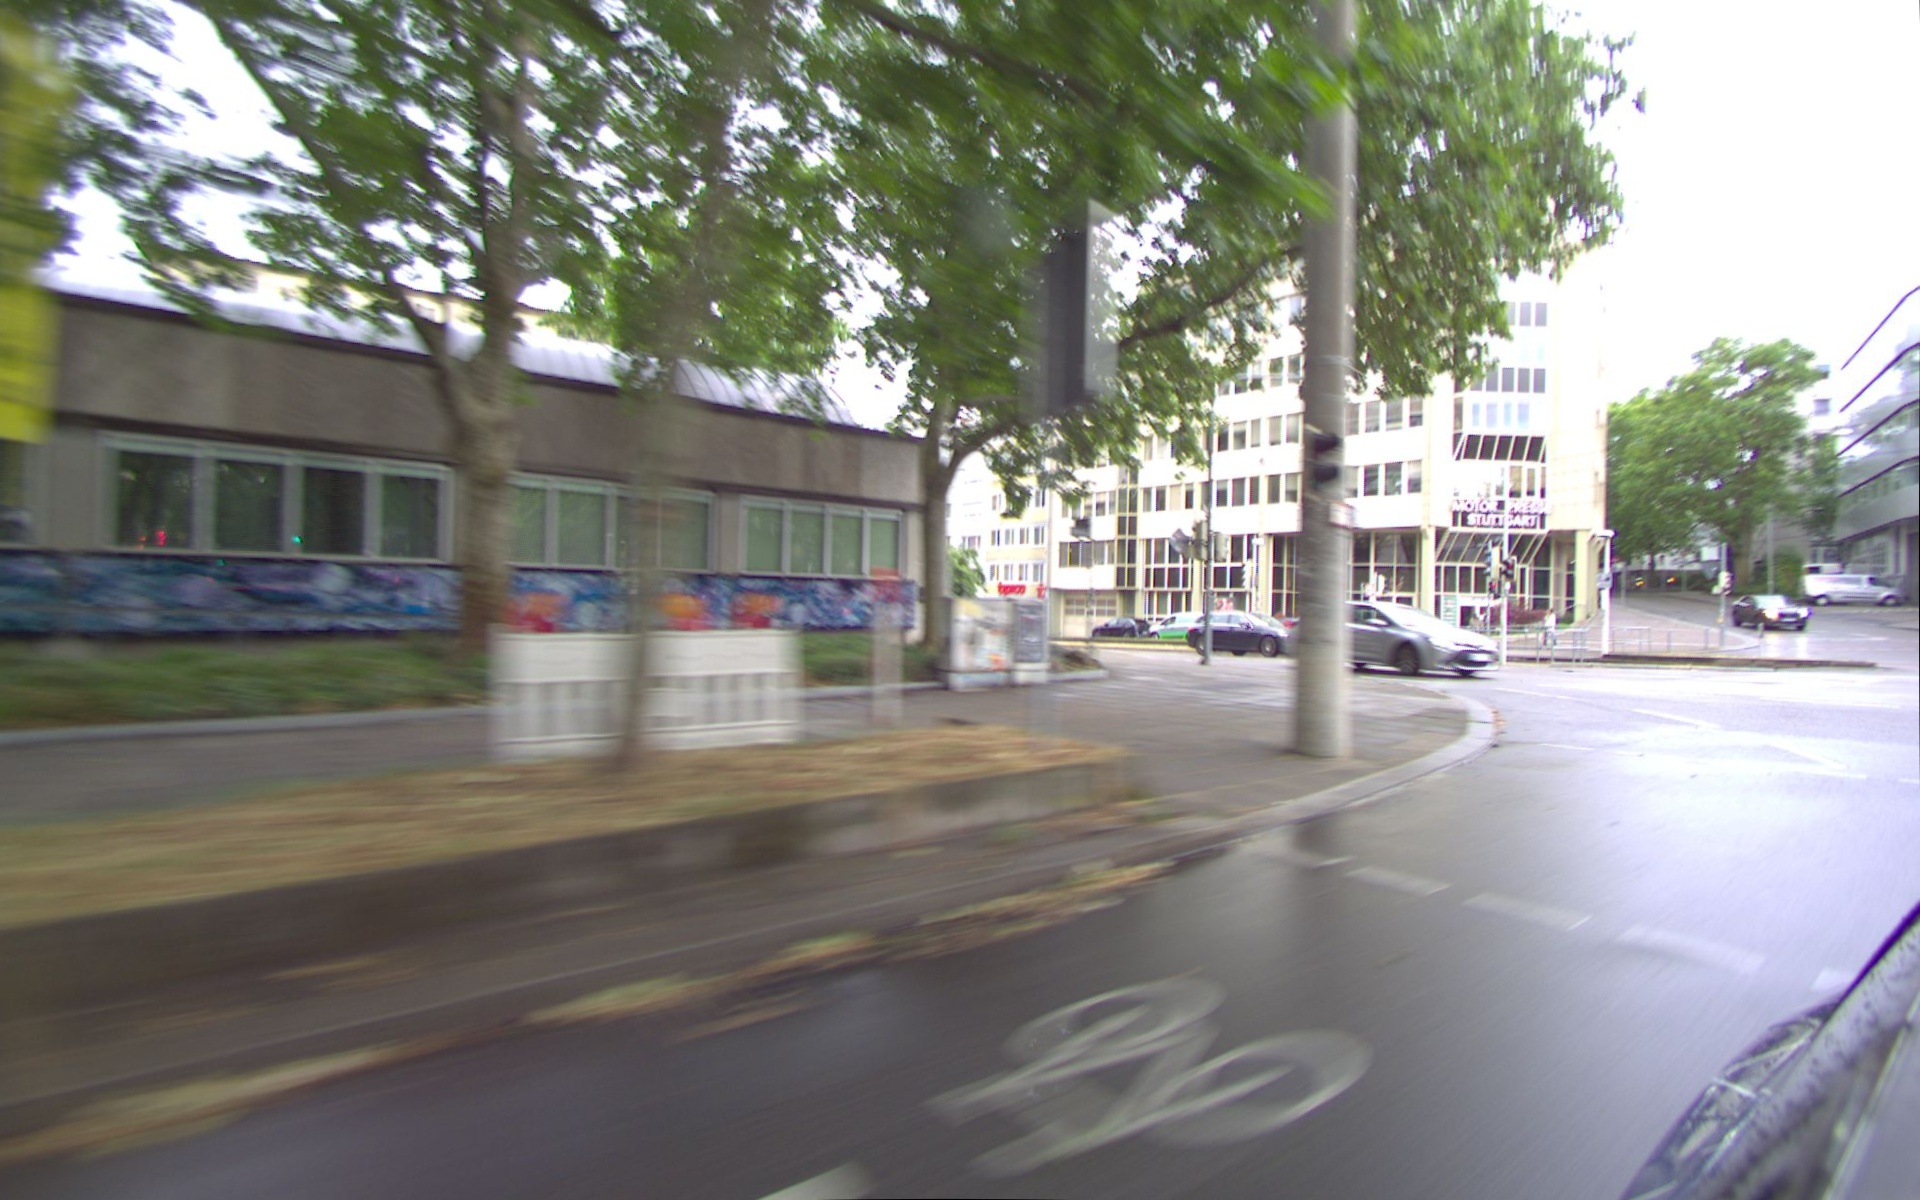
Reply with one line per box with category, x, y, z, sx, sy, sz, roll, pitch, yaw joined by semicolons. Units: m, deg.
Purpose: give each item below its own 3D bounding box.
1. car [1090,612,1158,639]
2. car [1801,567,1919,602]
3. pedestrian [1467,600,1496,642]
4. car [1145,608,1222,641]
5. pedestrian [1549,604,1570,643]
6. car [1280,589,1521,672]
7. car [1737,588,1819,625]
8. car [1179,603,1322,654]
car;9.989;1.537;61.806;1.767;1.533;4.077;0;0;-35
car;56.123;-0.980;63.154;5.374;2.040;1.976;1;-2;33
pedestrian;22.874;0.908;44.409;0.744;1.809;0.833;0;0;-15
car;12.686;1.350;57.615;1.768;1.768;4.215;0;-1;-36
pedestrian;25.876;1.013;43.679;0.713;1.659;0.753;0;0;27
car;8.736;0.597;20.470;1.776;1.453;4.302;3;-2;-28
car;40.406;0.274;50.125;1.979;1.599;4.848;0;2;25
car;9.140;0.887;32.204;1.764;1.461;4.480;3;-2;-28
